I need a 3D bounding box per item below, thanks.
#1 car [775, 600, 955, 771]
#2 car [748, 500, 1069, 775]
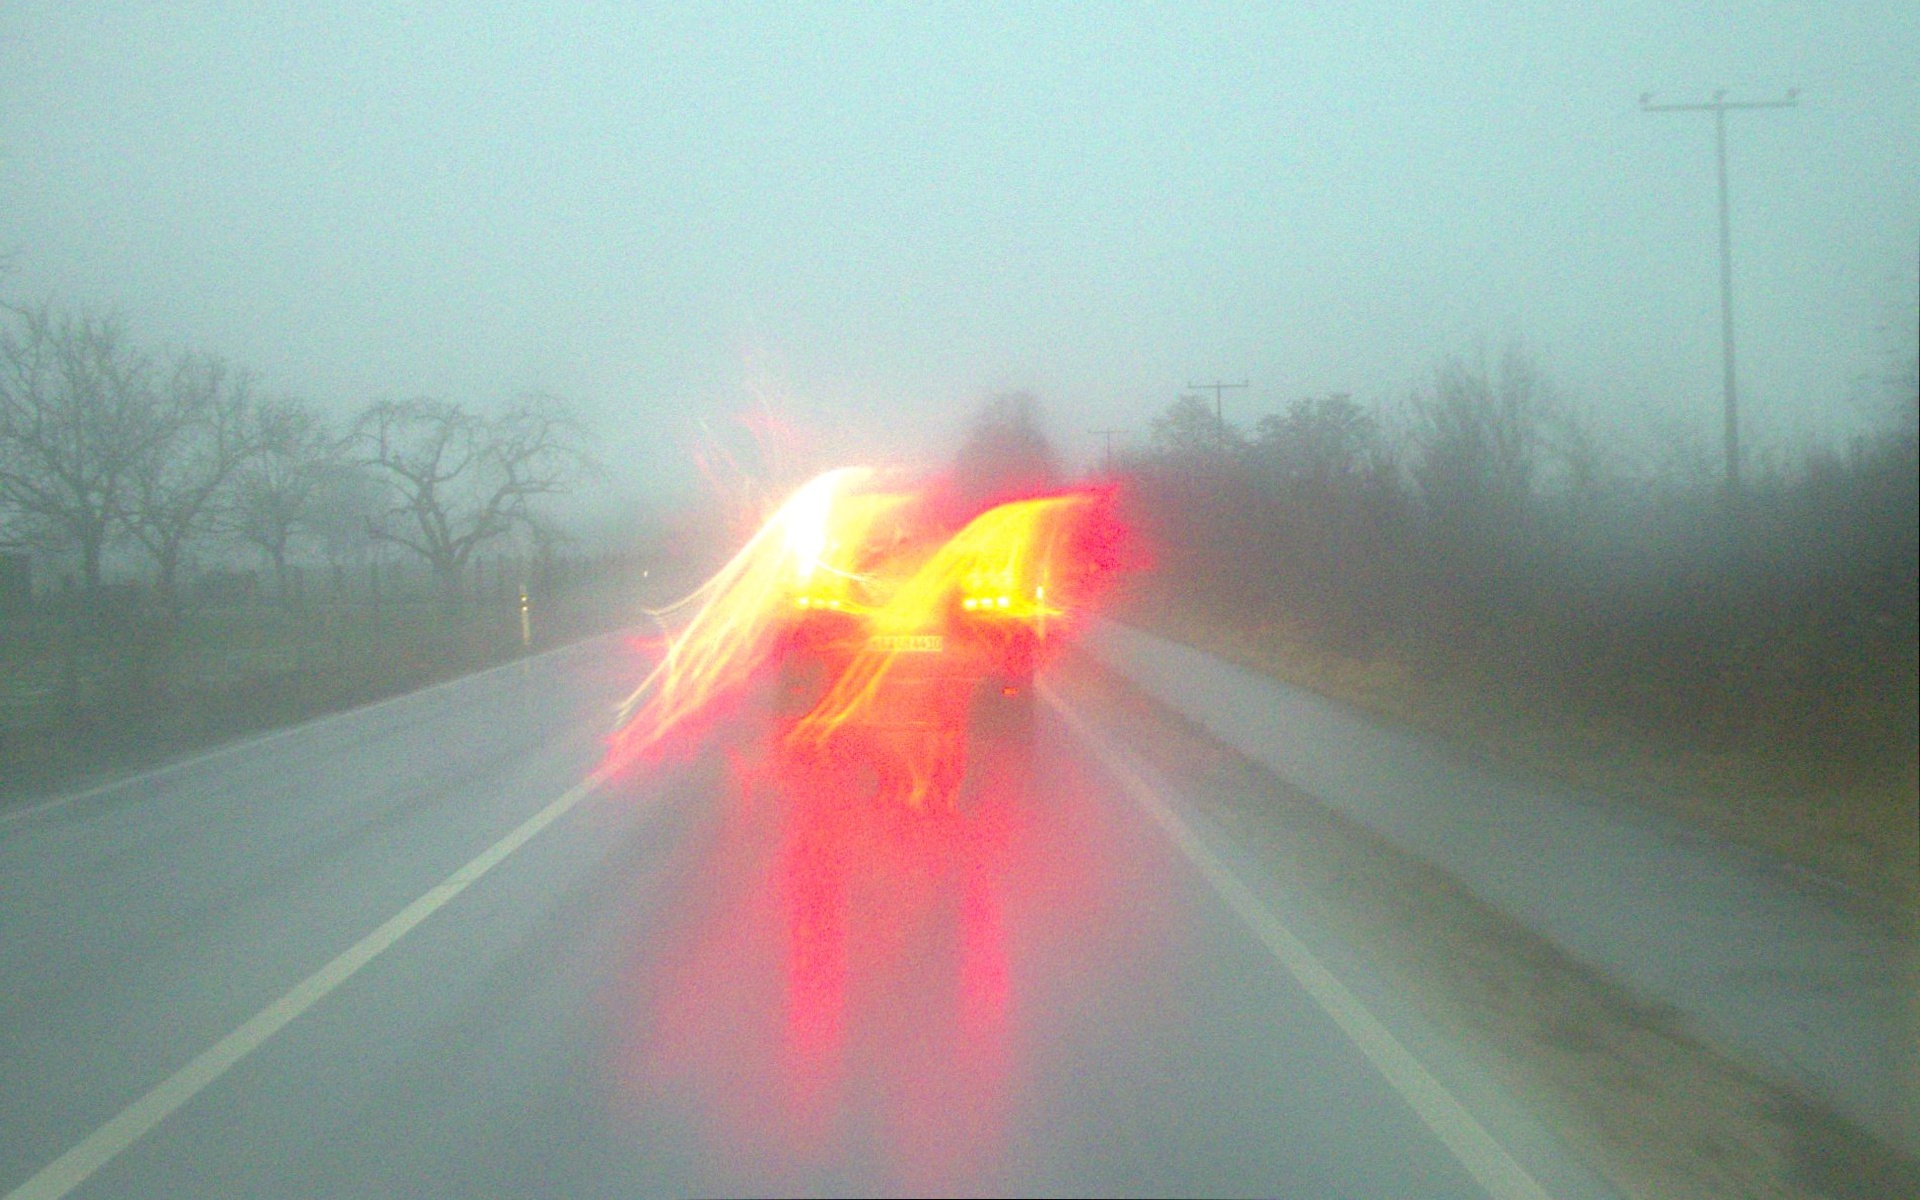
[{"bbox_3d":[-1.092,0.962,40.548,1.993,1.843,4.000,1,1,-1],"label":"car"},{"bbox_3d":[-0.372,0.201,25.250,2.120,1.813,4.980,0,1,-1],"label":"car"}]
